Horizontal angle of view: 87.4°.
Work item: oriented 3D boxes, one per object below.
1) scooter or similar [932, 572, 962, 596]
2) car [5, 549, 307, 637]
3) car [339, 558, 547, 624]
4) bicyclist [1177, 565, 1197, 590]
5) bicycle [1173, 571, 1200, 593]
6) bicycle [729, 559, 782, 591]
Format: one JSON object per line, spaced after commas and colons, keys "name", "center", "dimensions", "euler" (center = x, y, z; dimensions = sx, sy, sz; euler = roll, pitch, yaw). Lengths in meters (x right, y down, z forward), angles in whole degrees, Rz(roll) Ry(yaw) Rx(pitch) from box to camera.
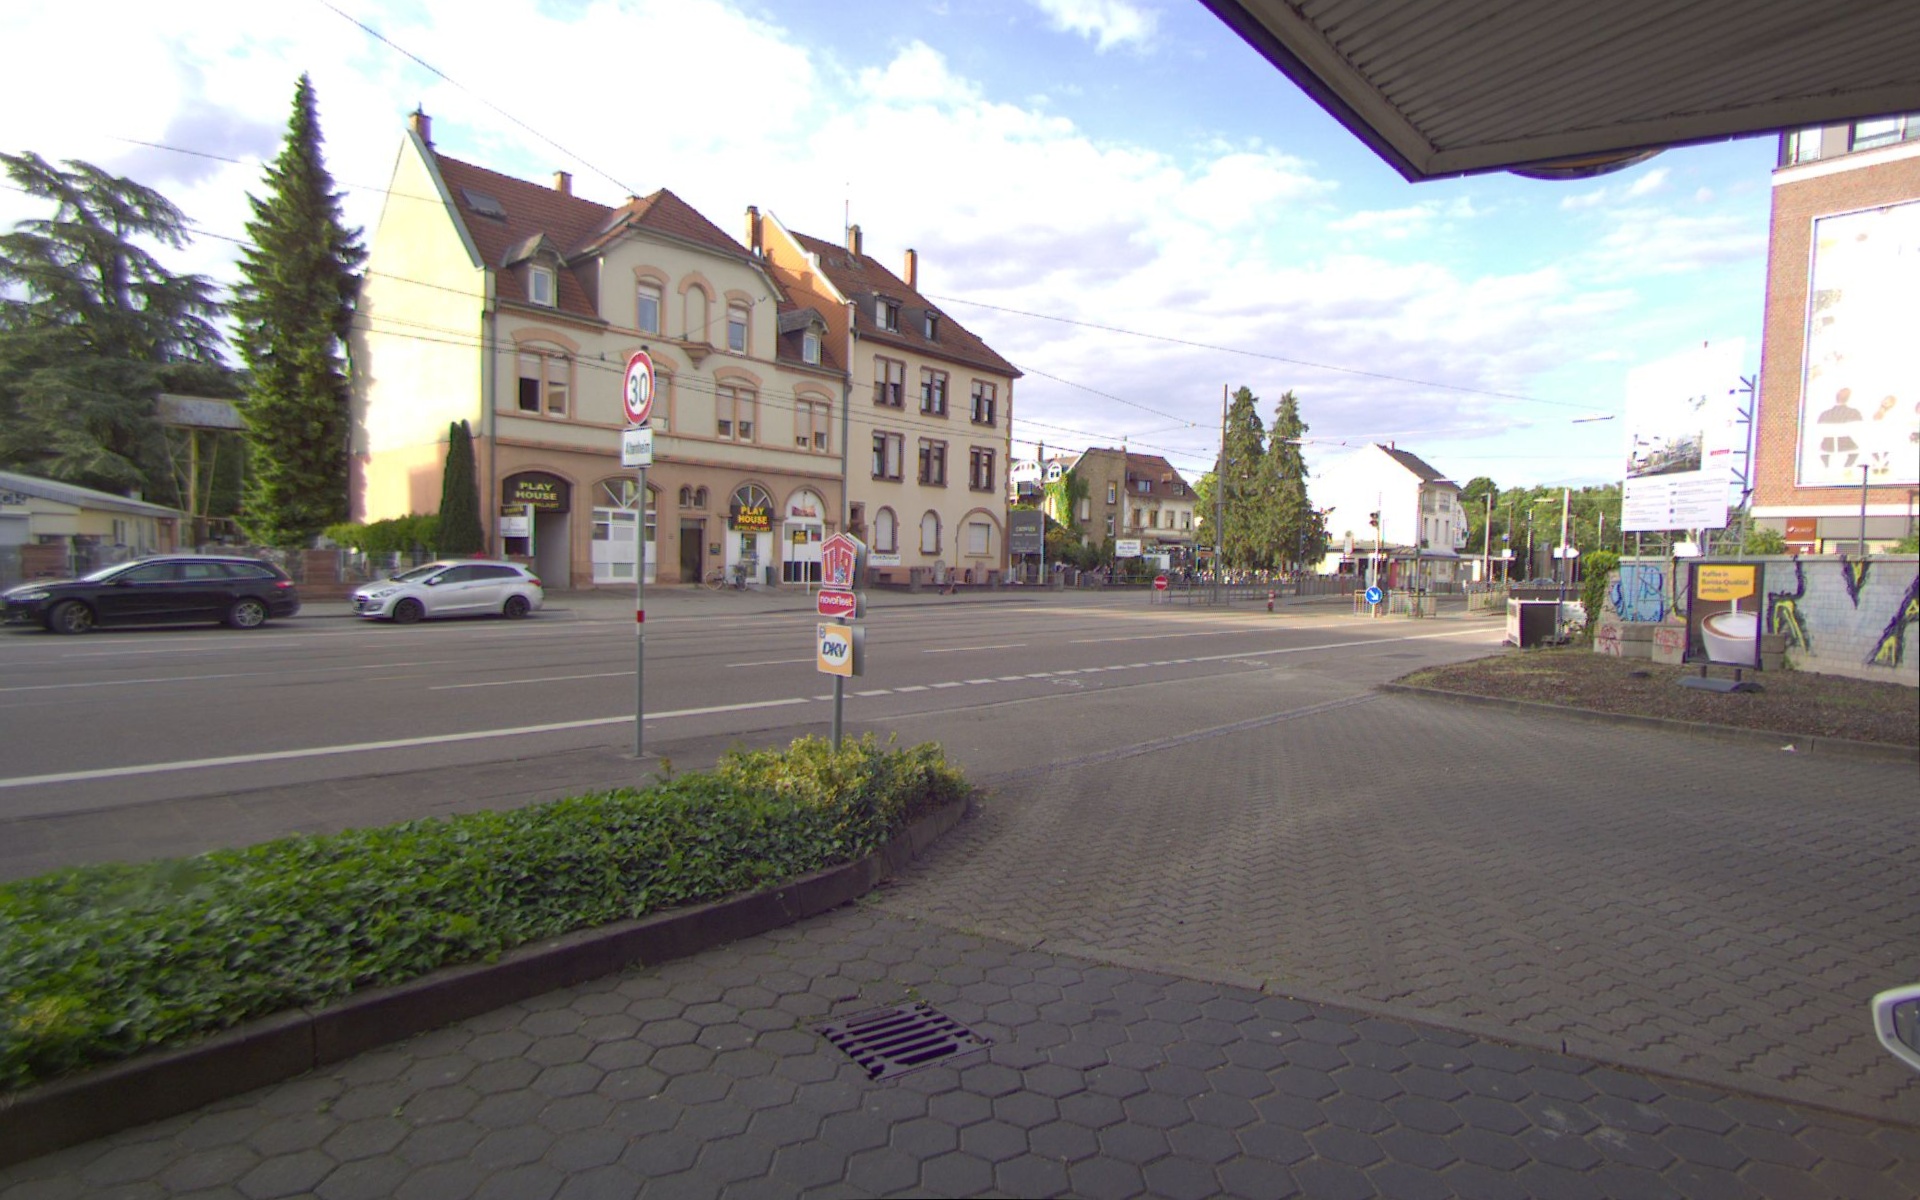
{"name": "scooter or similar", "center": [-0.576, -0.716, 45.095], "dimensions": [0.437, 1.006, 1.460], "euler": [6, 5, 41]}
{"name": "car", "center": [-16.494, -0.173, 20.818], "dimensions": [1.827, 1.542, 4.642], "euler": [5, 4, 40]}
{"name": "car", "center": [-12.936, -0.250, 25.357], "dimensions": [1.718, 1.502, 4.357], "euler": [3, 2, 41]}
{"name": "bicyclist", "center": [13.748, -1.345, 60.764], "dimensions": [0.741, 1.428, 0.917], "euler": [8, 6, 40]}
{"name": "bicycle", "center": [13.672, -1.083, 60.695], "dimensions": [0.741, 1.219, 1.812], "euler": [8, 6, 40]}
{"name": "bicycle", "center": [-8.257, -1.003, 40.629], "dimensions": [0.741, 1.219, 2.011], "euler": [8, 5, 41]}
